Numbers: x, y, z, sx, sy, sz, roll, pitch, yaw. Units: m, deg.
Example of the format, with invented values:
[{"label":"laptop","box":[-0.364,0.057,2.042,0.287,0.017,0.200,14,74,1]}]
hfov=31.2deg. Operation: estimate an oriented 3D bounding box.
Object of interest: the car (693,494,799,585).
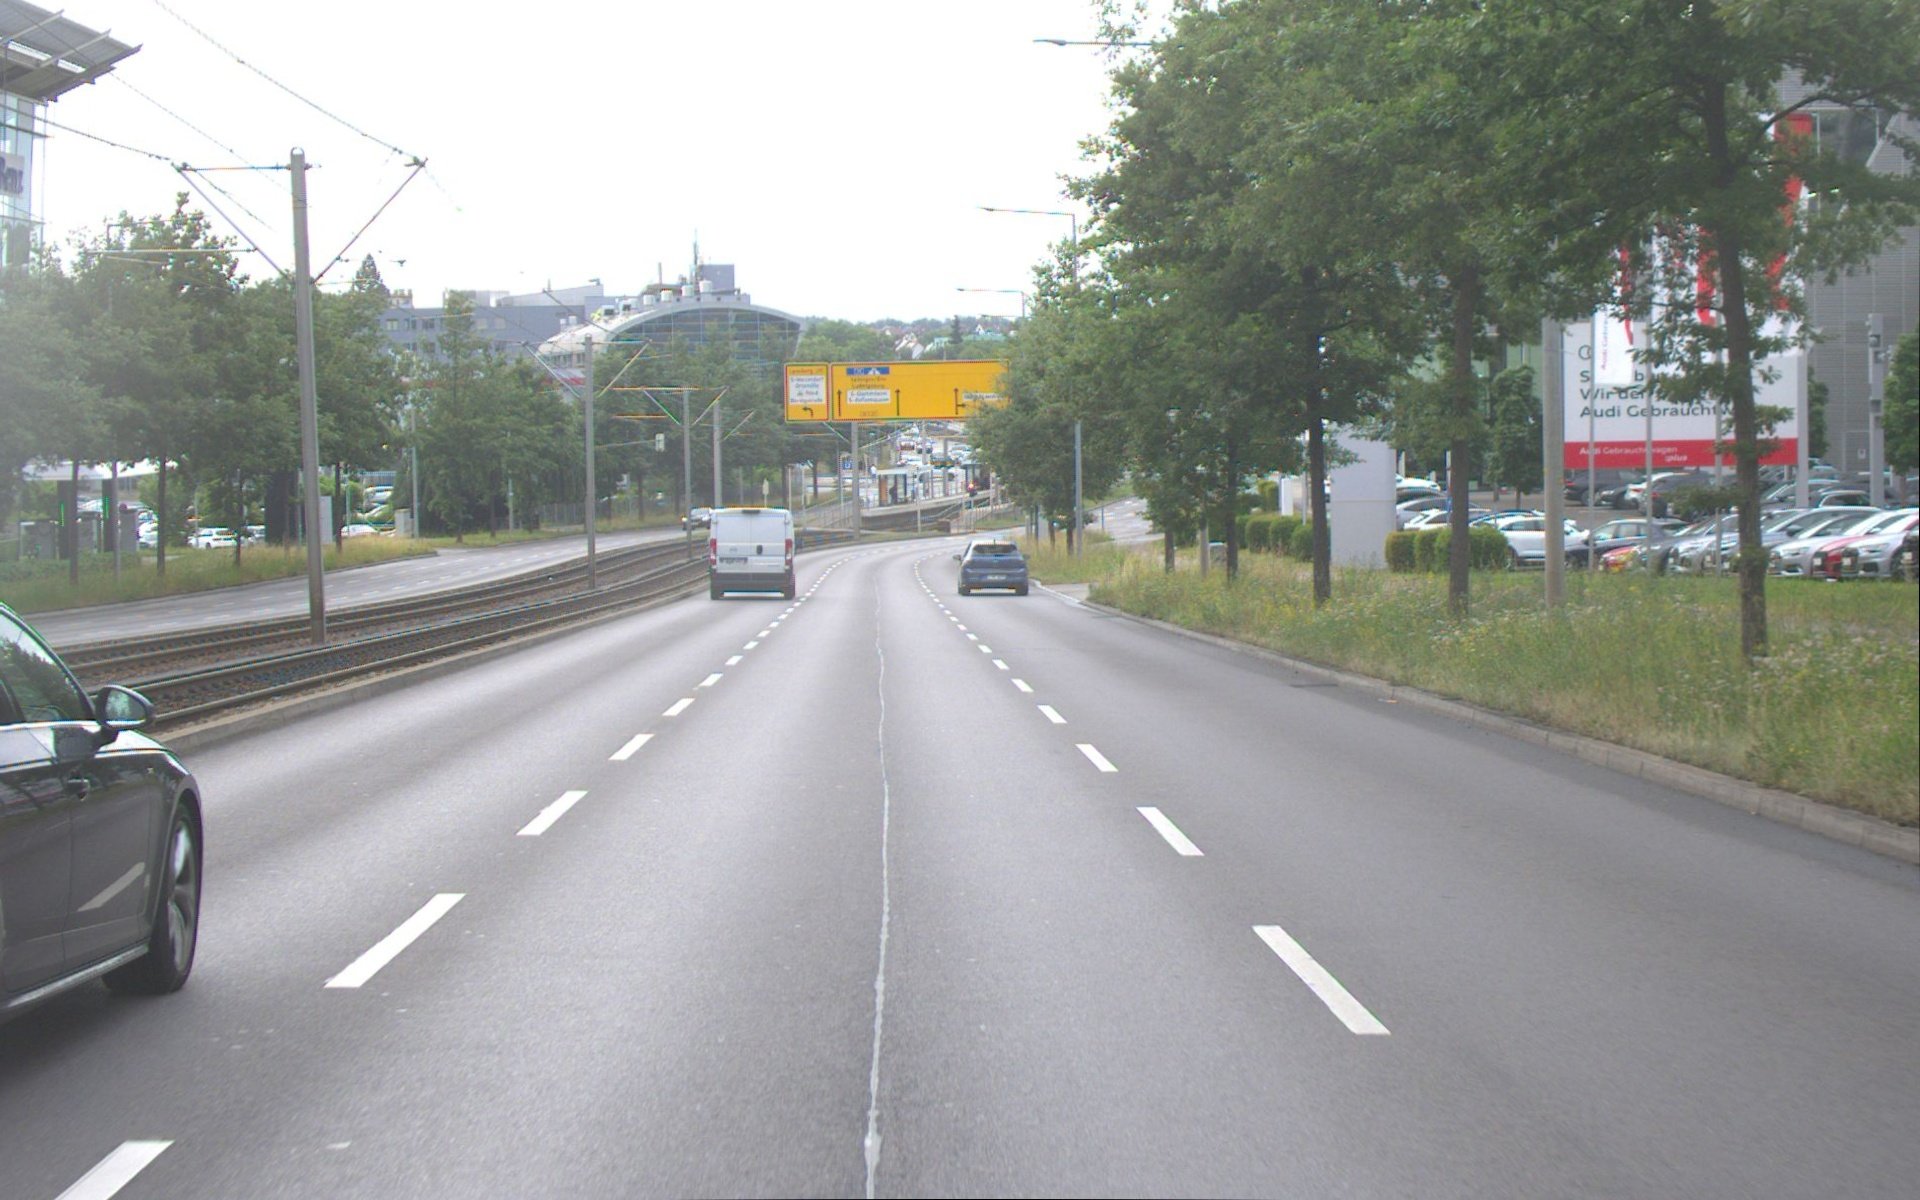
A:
[{"label":"car","box":[-5.344,-1.499,85.750,2.511,2.169,5.150,1,1,-4]}]

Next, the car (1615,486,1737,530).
[{"label":"car","box":[26.250,-3.370,126.109,4.105,1.568,1.693,0,2,-2]}]

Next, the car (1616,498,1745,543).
[{"label":"car","box":[25.312,-2.804,120.867,4.105,1.568,1.826,0,2,-2]}]

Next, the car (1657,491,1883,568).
[{"label":"car","box":[17.871,-1.555,75.953,4.461,1.545,1.931,-2,1,-2]}]

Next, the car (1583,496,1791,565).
[{"label":"car","box":[17.290,-1.649,81.886,4.460,1.545,1.931,-1,1,-6]}]

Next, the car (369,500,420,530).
[{"label":"car","box":[-32.381,-4.866,196.941,1.994,1.645,4.000,1,1,4]}]

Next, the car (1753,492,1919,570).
[{"label":"car","box":[17.965,-1.349,67.139,4.461,1.451,1.931,-1,1,-2]}]

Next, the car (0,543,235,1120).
[{"label":"car","box":[-3.370,0.581,9.730,1.764,1.458,4.627,0,1,-1]}]

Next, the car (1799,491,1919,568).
[{"label":"car","box":[18.076,-1.343,63.972,4.397,1.343,1.931,-2,0,-2]}]

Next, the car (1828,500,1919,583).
[{"label":"car","box":[17.863,-1.073,60.967,4.397,1.422,1.891,-2,1,-1]}]

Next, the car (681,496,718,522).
[{"label":"car","box":[-16.719,-5.878,221.147,1.883,1.515,4.403,-3,2,1]}]

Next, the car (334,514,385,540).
[{"label":"car","box":[-37.015,-4.504,211.912,1.993,1.505,4.001,1,1,-27]}]

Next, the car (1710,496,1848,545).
[{"label":"car","box":[27.027,-2.623,113.542,4.105,1.569,1.693,-1,1,-2]}]

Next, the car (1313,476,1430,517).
[{"label":"car","box":[15.981,-4.037,133.652,4.259,1.568,1.693,0,2,-2]}]

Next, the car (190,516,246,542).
[{"label":"car","box":[-45.008,-4.321,208.459,1.993,1.505,4.000,1,1,-33]}]

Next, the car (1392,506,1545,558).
[{"label":"car","box":[16.001,-2.132,108.288,4.519,1.588,1.693,-1,1,-2]}]

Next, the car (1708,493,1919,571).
[{"label":"car","box":[17.742,-1.386,70.167,4.461,1.451,1.931,-2,1,-2]}]

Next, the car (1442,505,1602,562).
[{"label":"car","box":[16.084,-1.892,98.458,4.104,1.588,1.949,0,0,-9]}]

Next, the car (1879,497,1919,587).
[{"label":"car","box":[18.058,-1.037,58.169,4.397,1.495,2.040,-2,1,-1]}]

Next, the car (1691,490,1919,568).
[{"label":"car","box":[17.992,-1.507,72.973,4.461,1.523,1.931,-2,1,-2]}]

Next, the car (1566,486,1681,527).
[{"label":"car","box":[25.832,-3.645,133.957,4.105,1.568,1.693,0,2,-2]}]

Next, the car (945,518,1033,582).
[{"label":"car","box":[0.735,-1.321,90.519,2.021,1.617,4.001,1,1,-4]}]

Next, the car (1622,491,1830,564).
[{"label":"car","box":[17.537,-1.649,78.814,4.276,1.588,1.827,-1,1,-3]}]
